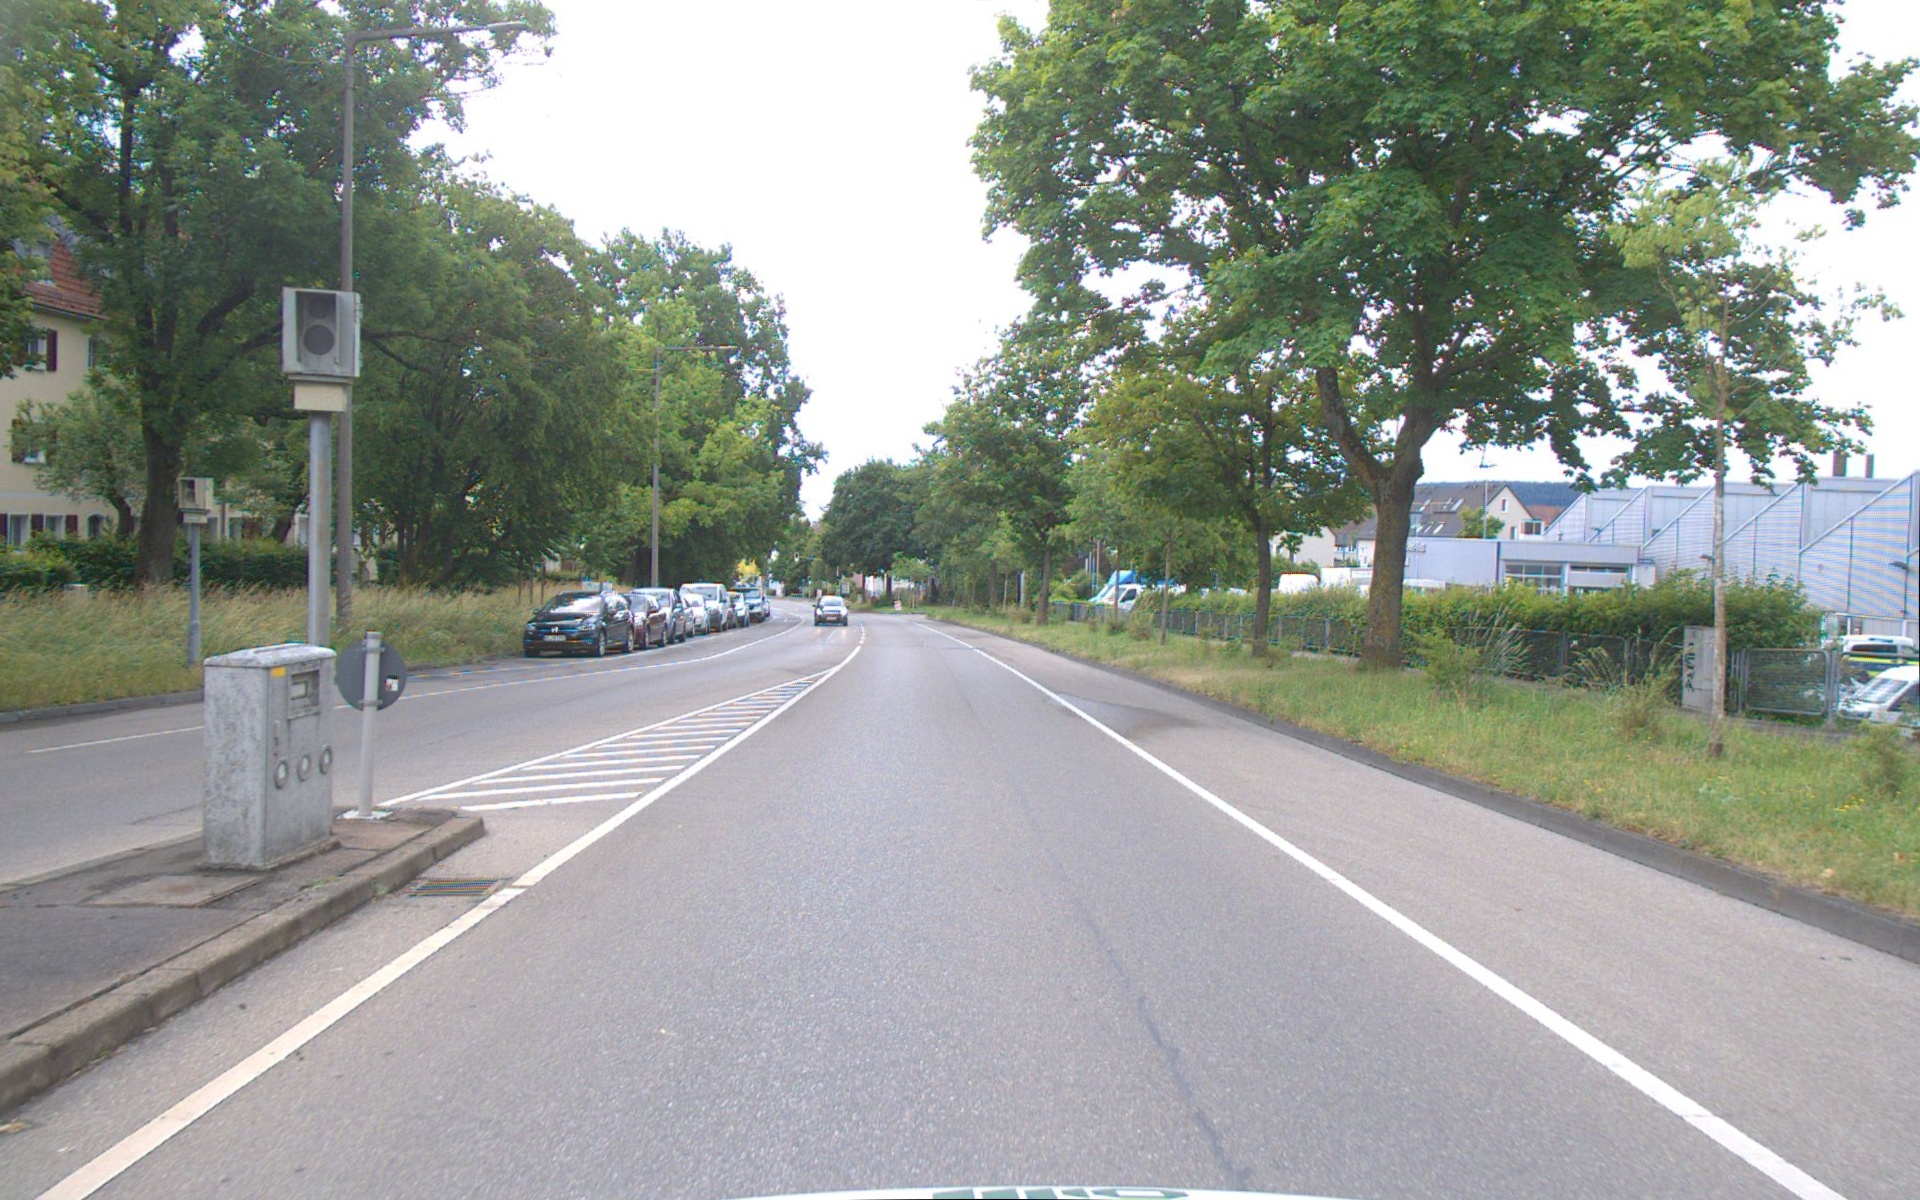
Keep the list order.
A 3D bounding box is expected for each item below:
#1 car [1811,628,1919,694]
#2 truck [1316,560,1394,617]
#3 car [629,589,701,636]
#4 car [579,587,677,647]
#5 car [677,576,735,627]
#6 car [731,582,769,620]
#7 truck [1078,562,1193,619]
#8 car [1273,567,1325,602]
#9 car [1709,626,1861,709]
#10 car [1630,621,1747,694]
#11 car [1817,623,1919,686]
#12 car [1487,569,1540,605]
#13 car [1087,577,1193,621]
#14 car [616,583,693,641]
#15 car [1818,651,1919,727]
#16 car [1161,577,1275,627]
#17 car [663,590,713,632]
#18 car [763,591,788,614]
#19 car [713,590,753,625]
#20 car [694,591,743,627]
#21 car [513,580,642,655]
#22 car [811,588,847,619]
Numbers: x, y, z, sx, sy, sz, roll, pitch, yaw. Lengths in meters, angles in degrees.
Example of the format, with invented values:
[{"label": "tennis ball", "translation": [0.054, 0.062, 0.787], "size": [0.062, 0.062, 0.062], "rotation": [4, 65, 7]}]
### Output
[{"label": "car", "translation": [37.191, 2.483, 67.471], "size": [3.905, 2.512, 2.000], "rotation": [2, 0, 1]}, {"label": "truck", "translation": [25.857, -0.717, 108.648], "size": [2.794, 3.519, 9.541], "rotation": [2, 0, 0]}, {"label": "car", "translation": [-9.950, 0.397, 56.062], "size": [1.732, 1.521, 4.356], "rotation": [-1, 1, -1]}, {"label": "car", "translation": [-8.742, 0.417, 43.843], "size": [1.732, 1.473, 4.149], "rotation": [1, 0, 0]}, {"label": "car", "translation": [-10.206, 0.034, 66.832], "size": [1.732, 1.964, 5.153], "rotation": [2, 0, -3]}, {"label": "car", "translation": [-11.709, 0.049, 92.576], "size": [1.829, 1.998, 5.122], "rotation": [1, 0, -5]}, {"label": "truck", "translation": [11.284, -0.603, 106.174], "size": [7.081, 3.538, 2.595], "rotation": [0, 0, -28]}, {"label": "car", "translation": [28.058, -1.330, 136.690], "size": [2.217, 2.723, 5.432], "rotation": [1, 3, 35]}, {"label": "car", "translation": [26.848, 2.166, 53.902], "size": [3.905, 2.515, 2.000], "rotation": [2, 0, 1]}, {"label": "car", "translation": [23.588, 1.832, 53.706], "size": [1.953, 2.183, 3.999], "rotation": [2, 0, -1]}, {"label": "car", "translation": [38.974, 2.316, 70.391], "size": [3.905, 2.512, 2.000], "rotation": [2, 0, 1]}, {"label": "car", "translation": [44.660, -1.115, 133.328], "size": [2.221, 2.723, 5.421], "rotation": [2, 3, 40]}, {"label": "car", "translation": [10.679, -0.046, 98.151], "size": [5.939, 2.408, 2.342], "rotation": [2, 0, -27]}, {"label": "car", "translation": [-9.072, 0.324, 49.395], "size": [1.733, 1.619, 4.132], "rotation": [1, 0, -3]}, {"label": "car", "translation": [25.710, 2.421, 44.756], "size": [3.905, 1.908, 2.000], "rotation": [2, 0, 1]}, {"label": "car", "translation": [12.380, 0.117, 79.316], "size": [5.185, 2.226, 2.052], "rotation": [2, 0, -29]}, {"label": "car", "translation": [-9.980, 0.384, 60.937], "size": [1.603, 1.458, 3.945], "rotation": [1, 0, -7]}, {"label": "car", "translation": [-13.340, 0.171, 119.716], "size": [1.732, 1.600, 4.754], "rotation": [0, 0, -5]}, {"label": "car", "translation": [-10.675, 0.330, 77.965], "size": [1.640, 1.592, 4.277], "rotation": [0, 0, -4]}, {"label": "car", "translation": [-10.568, 0.376, 72.538], "size": [1.639, 1.514, 4.043], "rotation": [-1, 0, -2]}, {"label": "car", "translation": [-8.818, 0.384, 38.520], "size": [1.836, 1.598, 4.651], "rotation": [1, 0, 1]}, {"label": "car", "translation": [-6.591, 0.166, 83.712], "size": [1.604, 1.493, 3.999], "rotation": [0, 0, -2]}]
